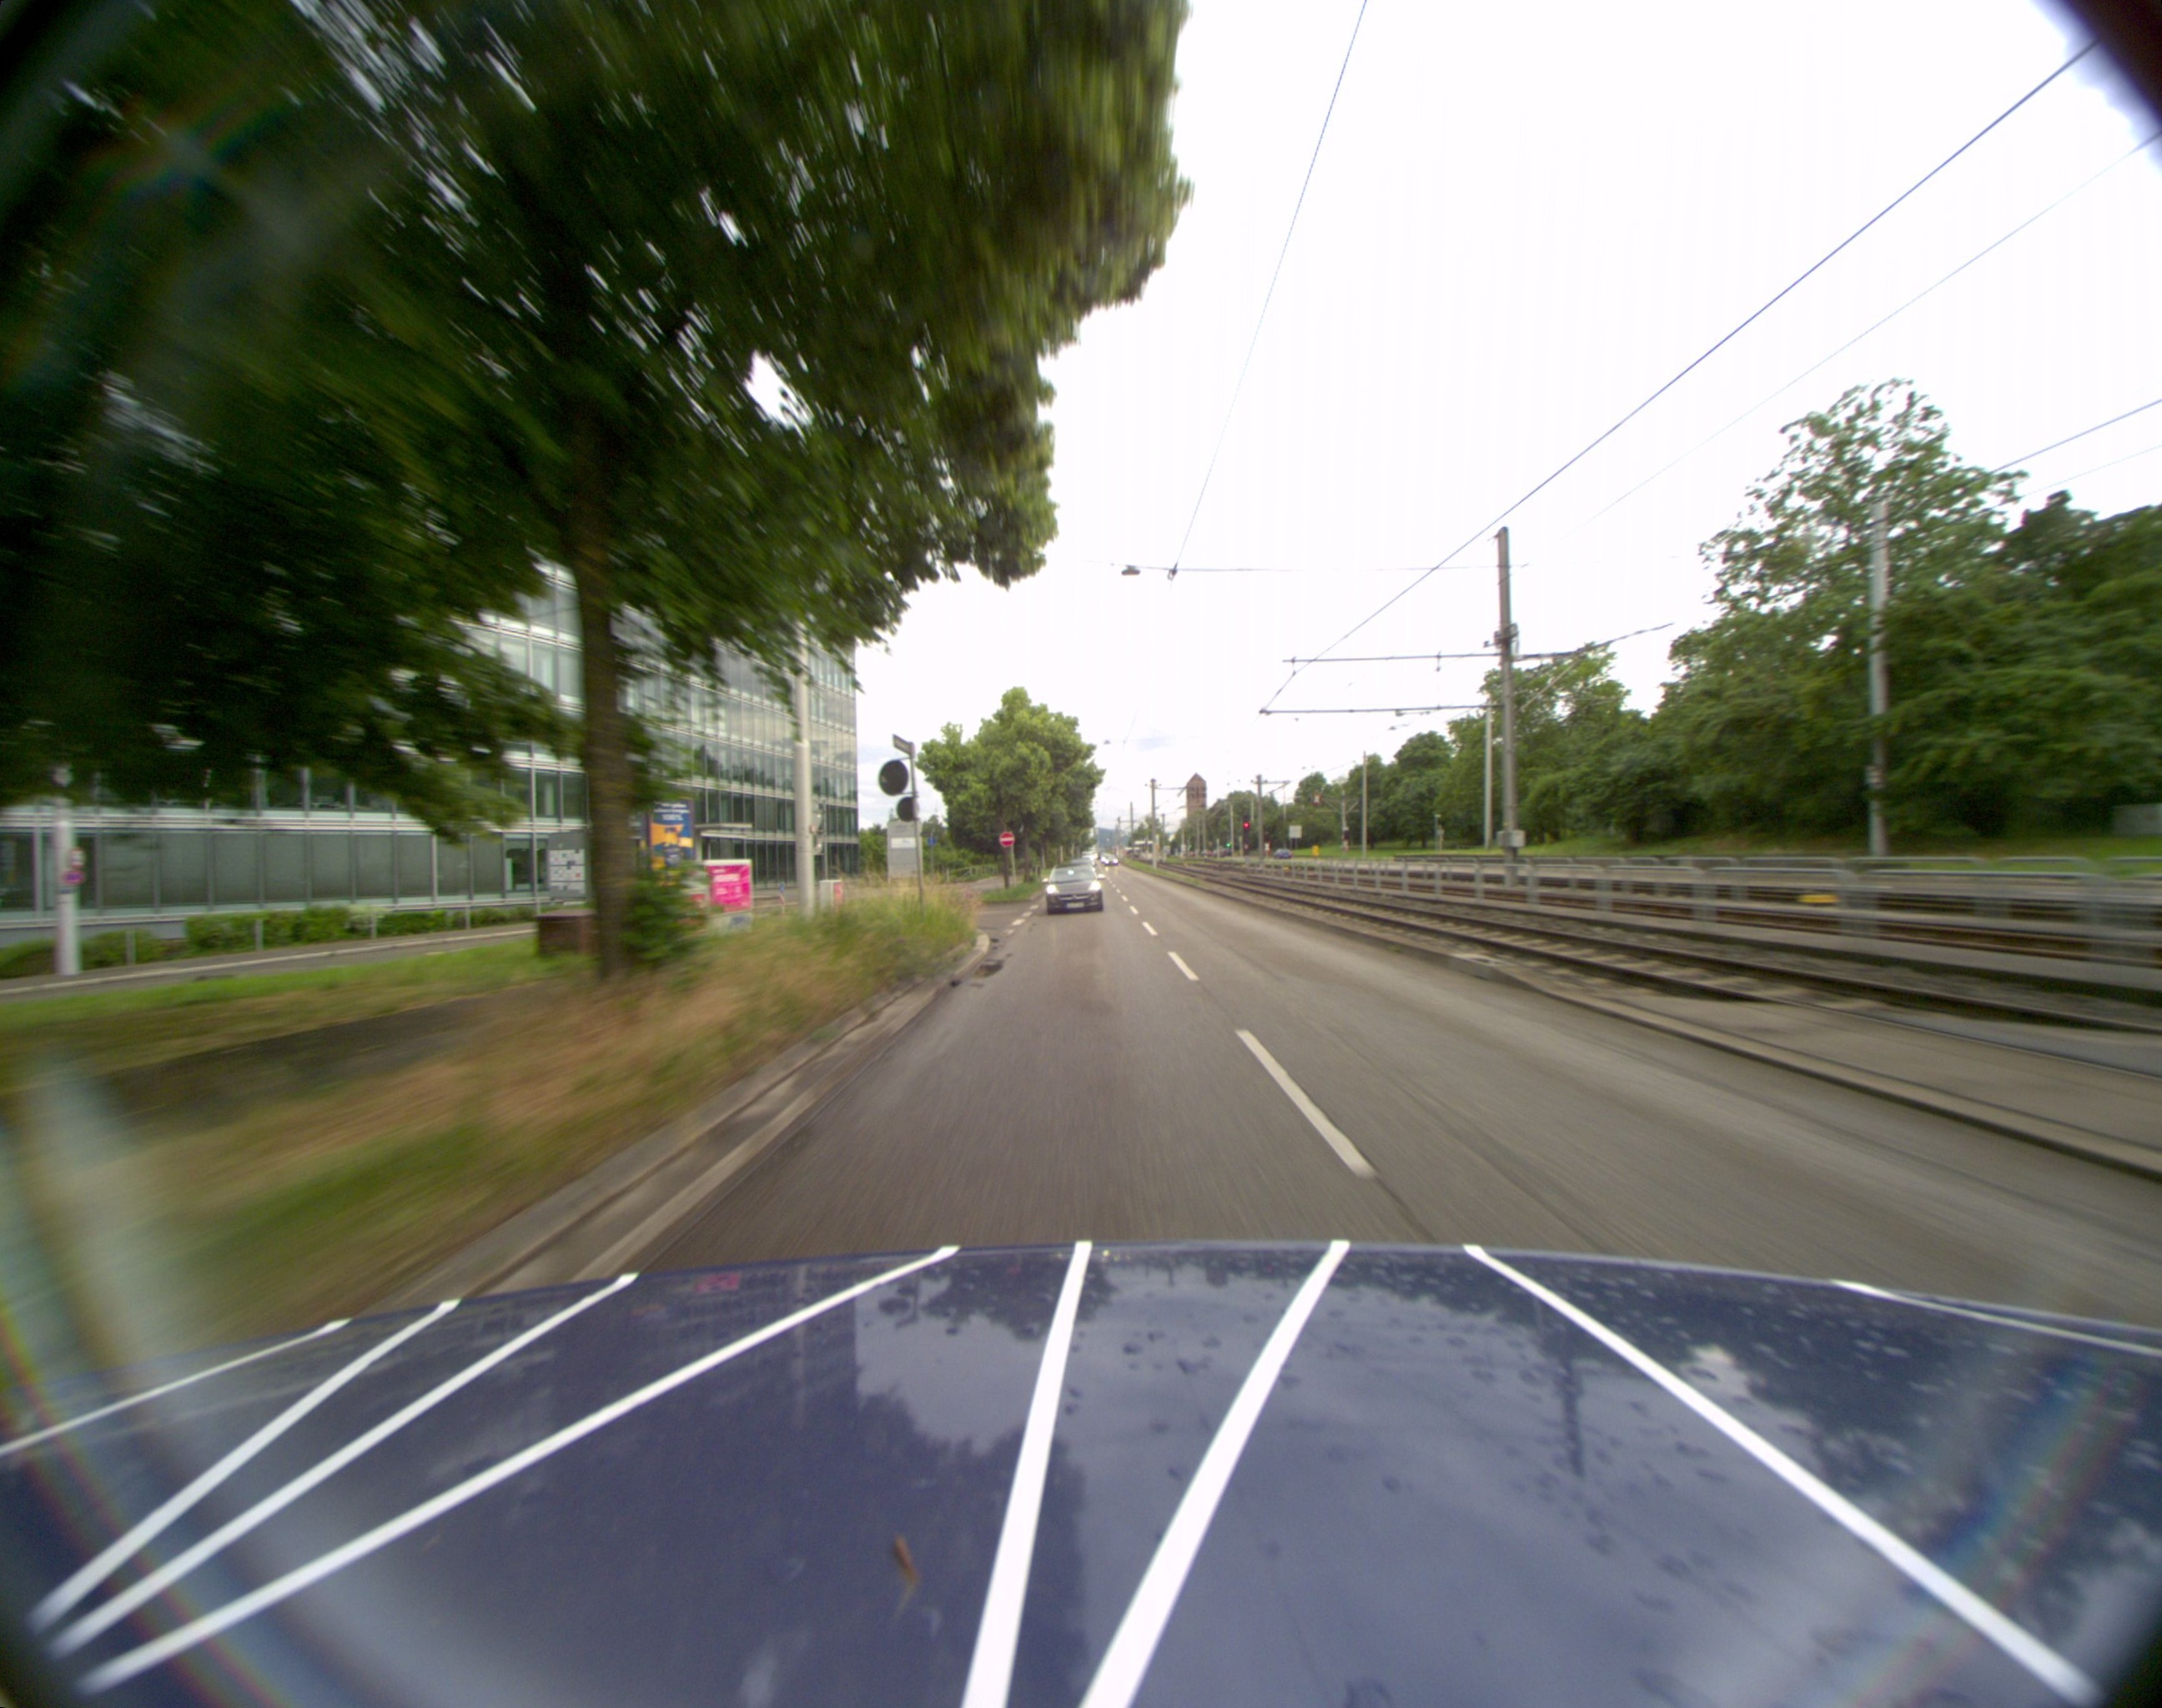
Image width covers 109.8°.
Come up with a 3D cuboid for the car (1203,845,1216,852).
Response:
[{"bbox_3d":[29.054,-1.289,171.855,2.094,1.579,5.159,-2,0,3],"label":"car"}]

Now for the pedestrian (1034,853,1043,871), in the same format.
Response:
[{"bbox_3d":[-4.469,0.855,79.697,0.828,1.787,0.867,-3,1,2],"label":"pedestrian"}]

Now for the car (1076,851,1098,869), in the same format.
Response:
[{"bbox_3d":[0.597,0.549,72.960,1.998,1.608,4.000,-2,0,1],"label":"car"}]

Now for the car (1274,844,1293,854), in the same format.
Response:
[{"bbox_3d":[27.282,-0.660,102.556,1.765,1.389,3.901,-2,0,4],"label":"car"}]

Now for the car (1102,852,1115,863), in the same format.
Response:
[{"bbox_3d":[4.279,0.568,119.006,1.812,1.566,3.971,-3,1,1],"label":"car"}]

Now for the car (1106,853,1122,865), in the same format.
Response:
[{"bbox_3d":[4.307,0.678,99.871,1.899,1.432,4.247,-2,-1,1],"label":"car"}]

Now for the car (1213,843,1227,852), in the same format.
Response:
[{"bbox_3d":[25.357,-1.147,138.526,1.895,1.477,4.309,-2,0,4],"label":"car"}]

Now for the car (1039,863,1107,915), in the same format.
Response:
[{"bbox_3d":[-0.186,1.037,24.344,1.899,1.432,4.474,-2,-1,1],"label":"car"}]

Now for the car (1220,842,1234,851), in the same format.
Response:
[{"bbox_3d":[28.221,-1.375,146.810,1.952,1.586,4.848,-2,0,3],"label":"car"}]
